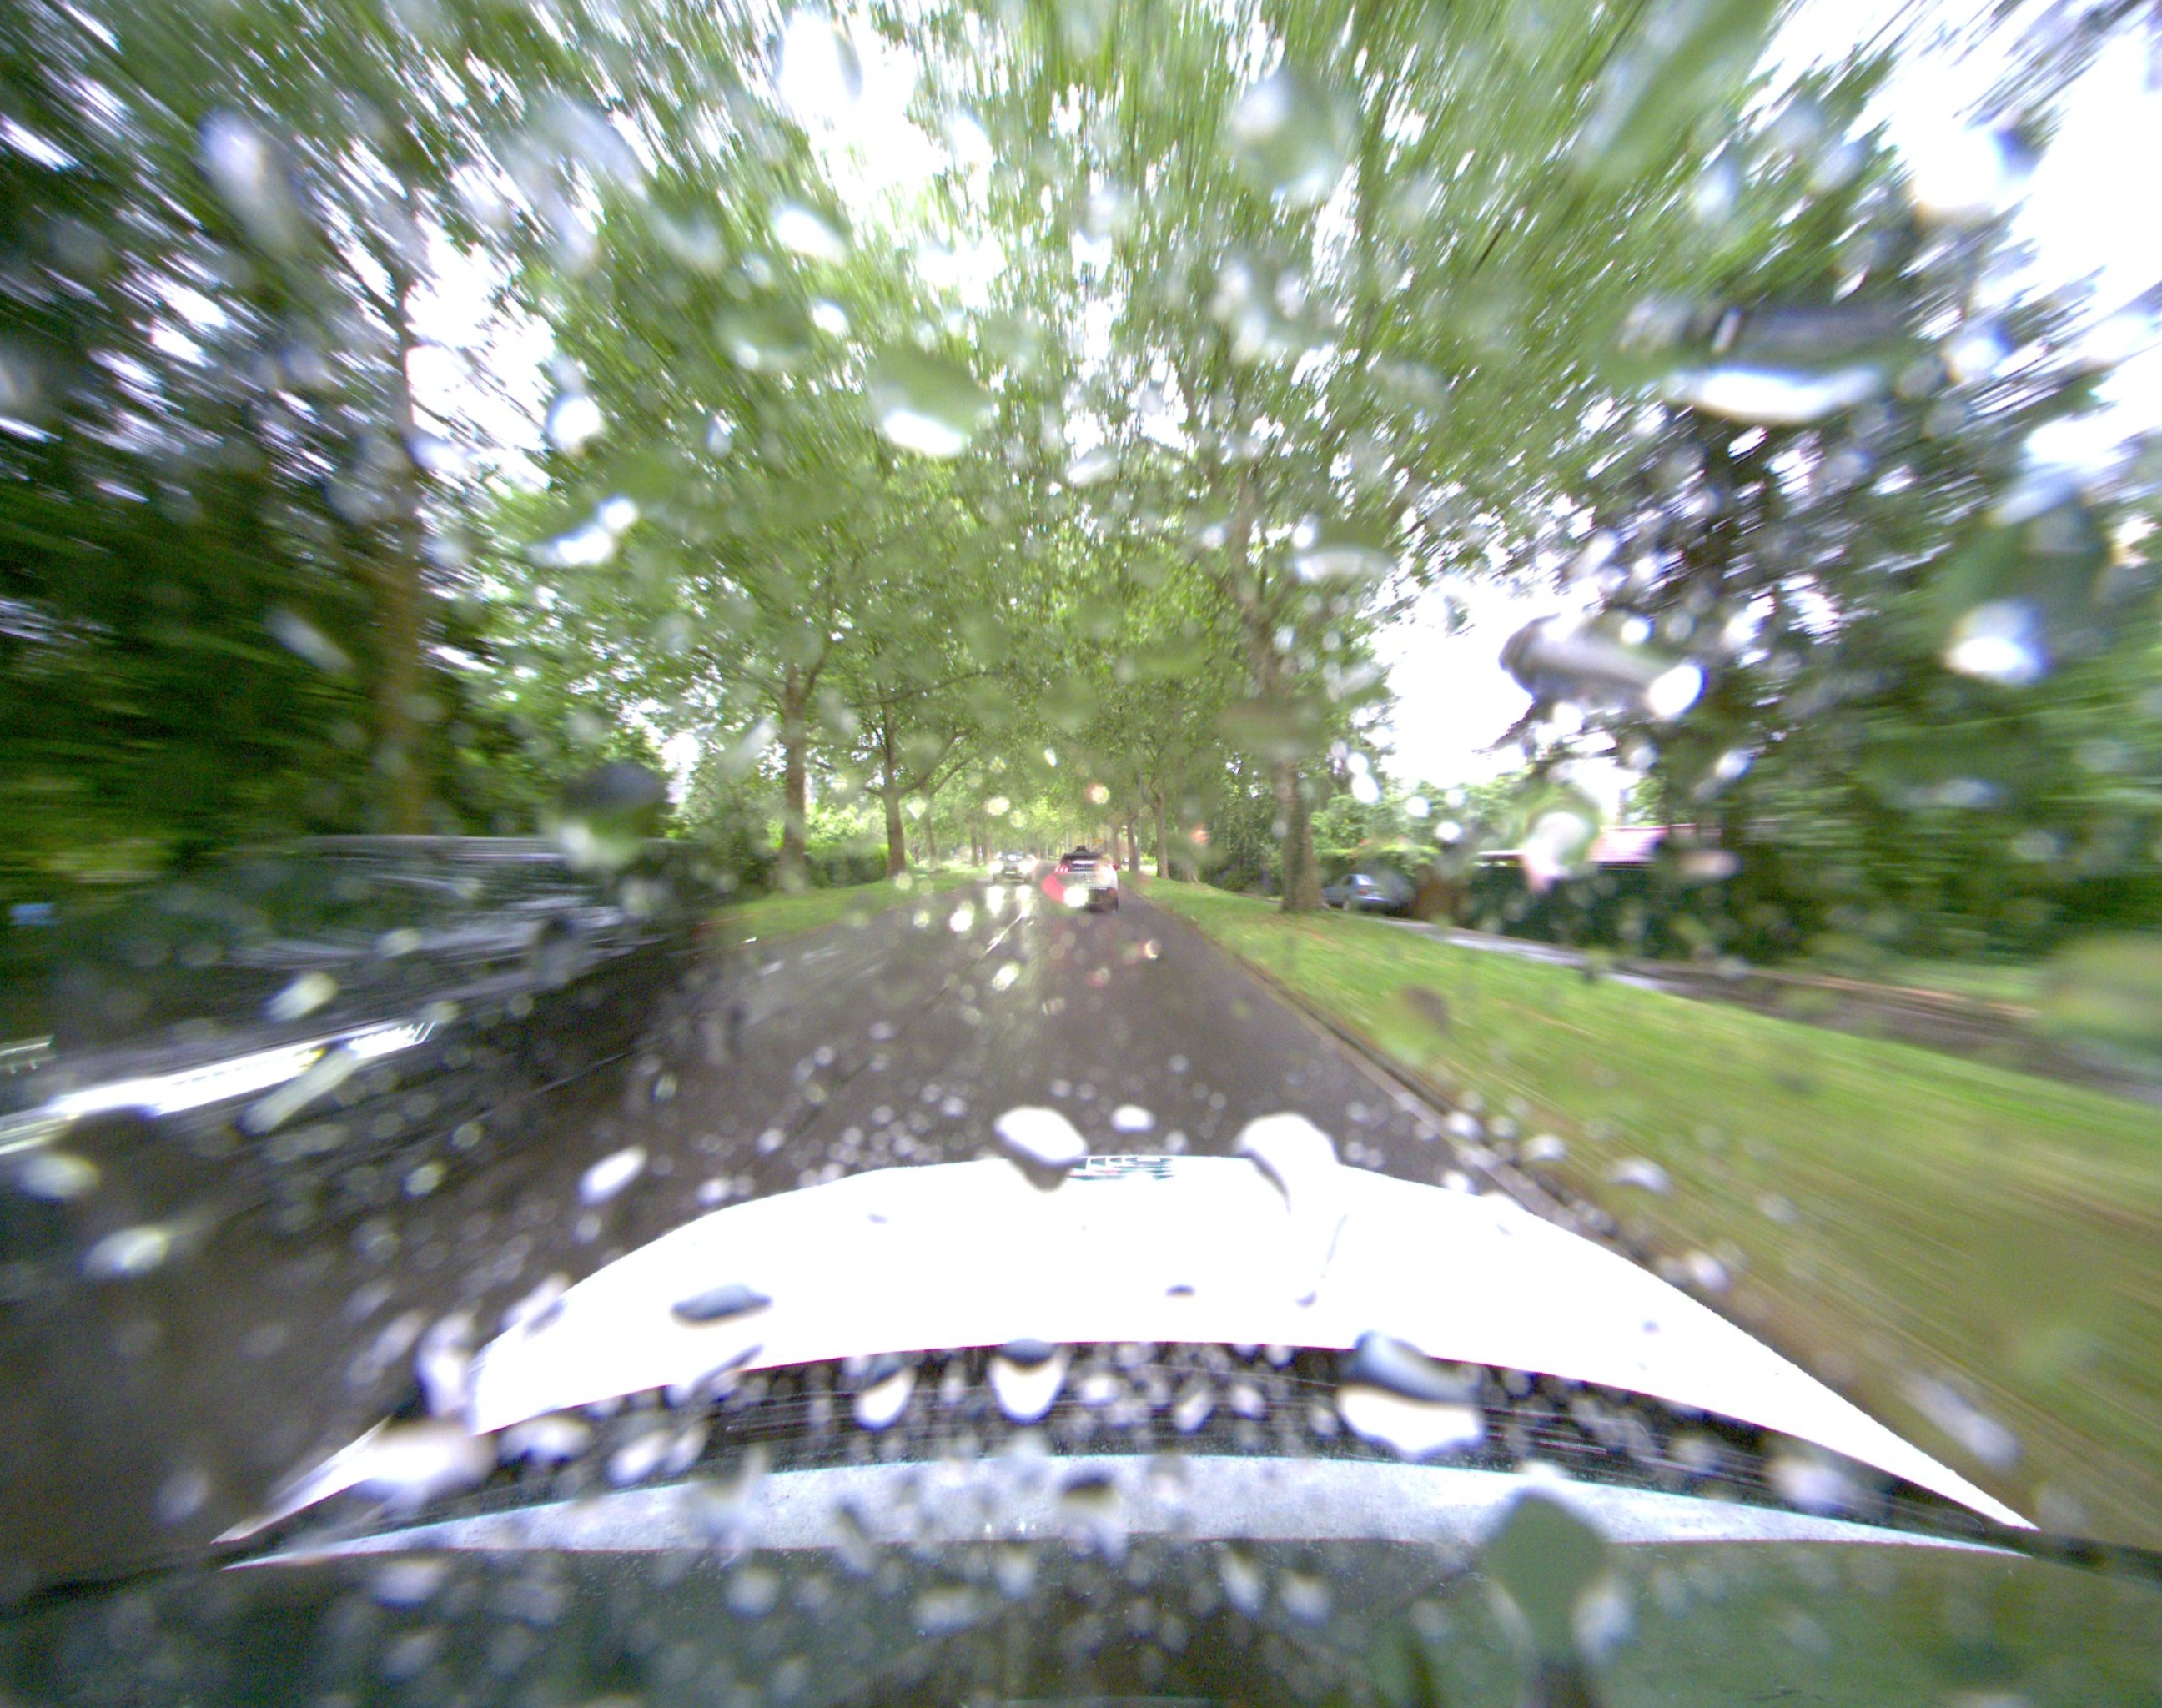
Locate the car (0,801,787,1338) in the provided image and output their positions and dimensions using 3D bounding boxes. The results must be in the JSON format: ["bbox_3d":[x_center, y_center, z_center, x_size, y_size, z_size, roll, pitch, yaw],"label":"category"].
[{"bbox_3d":[-3.659,0.665,4.934,1.810,1.654,4.776,1,0,2],"label":"car"}]

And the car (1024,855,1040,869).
[{"bbox_3d":[-5.670,0.931,94.185,1.842,1.502,3.994,1,0,-4],"label":"car"}]

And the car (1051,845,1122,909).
[{"bbox_3d":[0.217,0.579,22.509,1.787,1.578,3.846,1,0,2],"label":"car"}]

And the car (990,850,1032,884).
[{"bbox_3d":[-3.655,0.661,43.366,1.803,1.728,4.454,1,0,0],"label":"car"}]

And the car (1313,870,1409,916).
[{"bbox_3d":[9.977,1.347,29.317,1.792,1.325,3.994,5,-1,-4],"label":"car"}]
